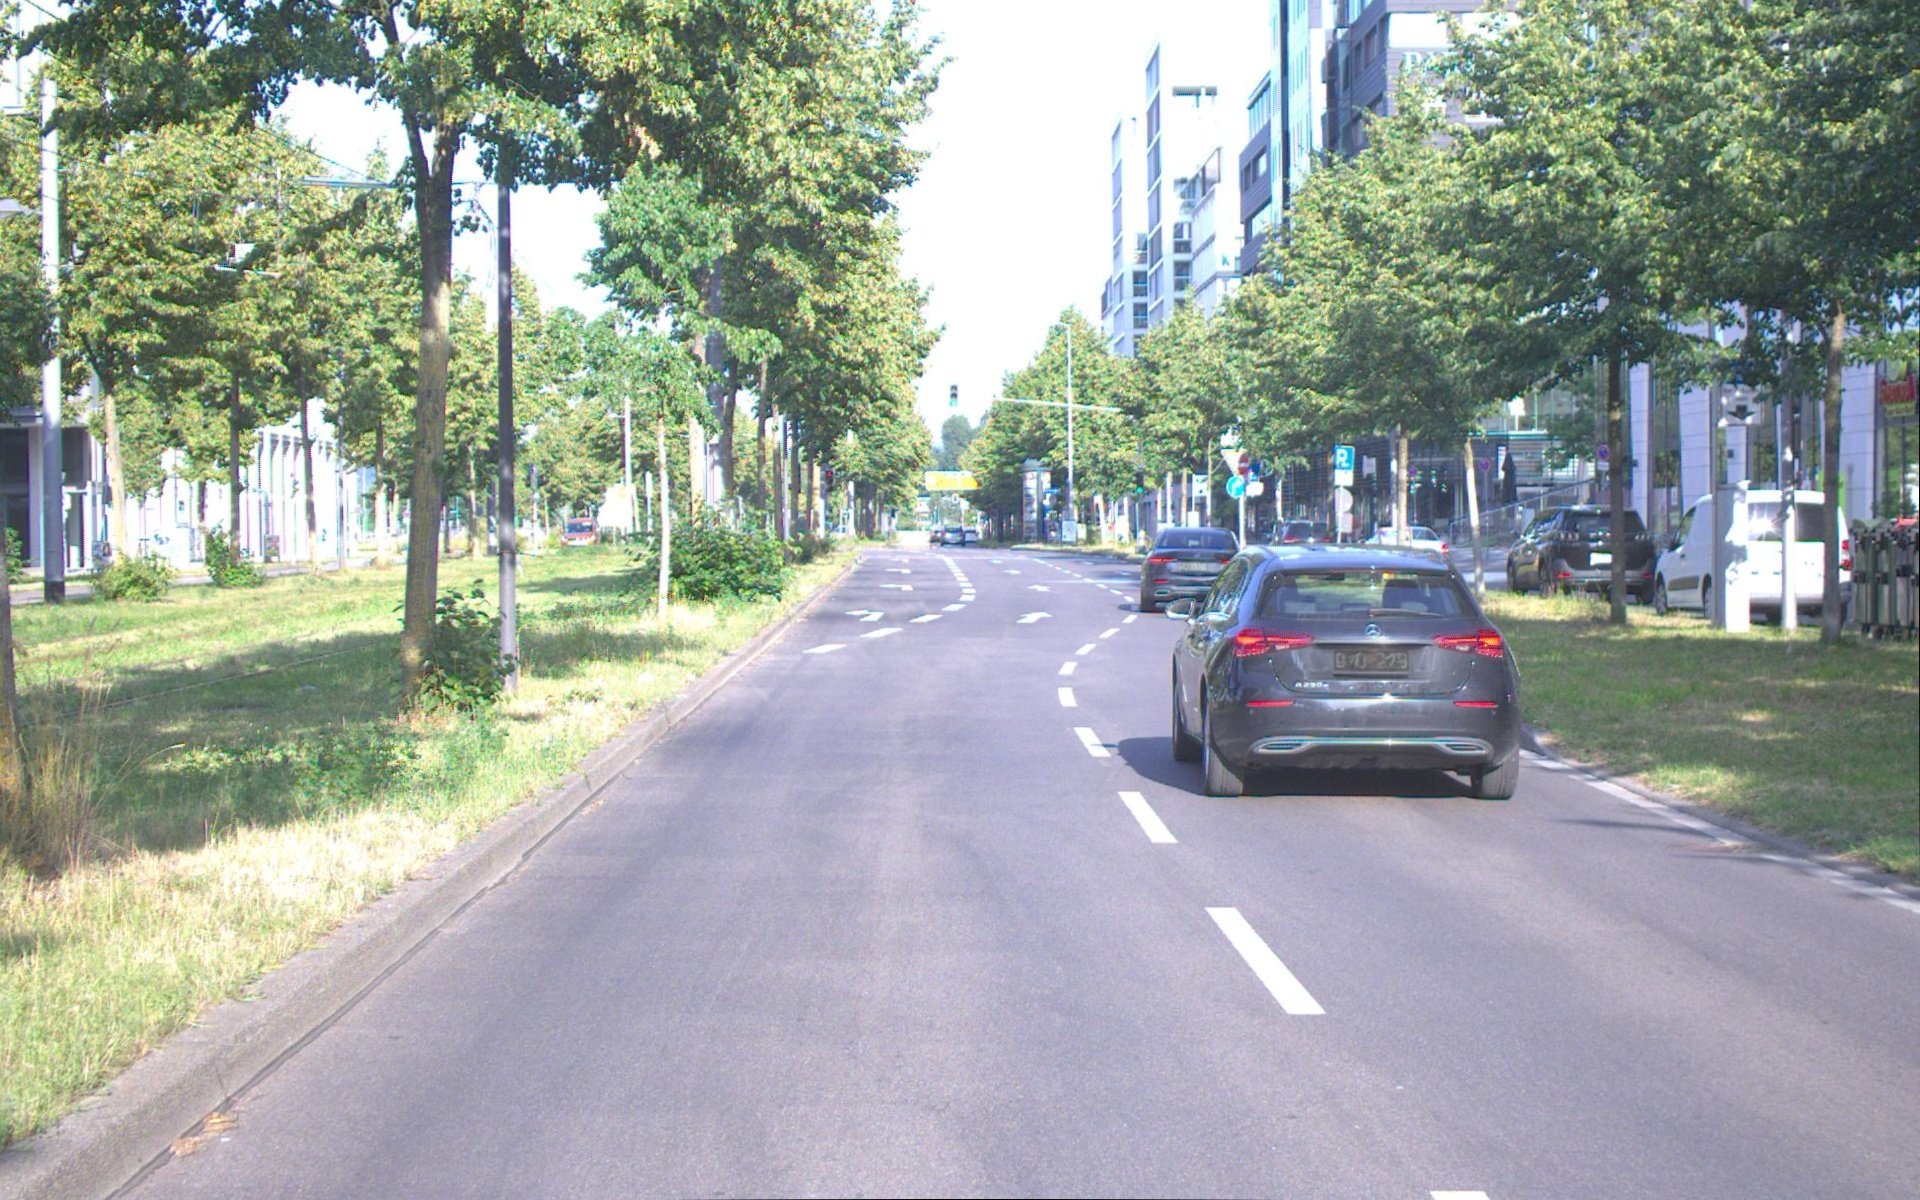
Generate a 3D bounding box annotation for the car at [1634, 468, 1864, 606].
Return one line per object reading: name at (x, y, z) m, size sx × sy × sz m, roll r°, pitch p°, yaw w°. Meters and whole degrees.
car at (10.435, -0.840, 45.783) m, size 1.827 × 1.706 × 4.297 m, roll 1°, pitch 1°, yaw -3°

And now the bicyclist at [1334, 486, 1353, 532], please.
bicyclist at (14.167, -3.350, 126.906) m, size 0.574 × 1.701 × 0.541 m, roll 1°, pitch 1°, yaw -4°

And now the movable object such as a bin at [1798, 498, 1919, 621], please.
movable object such as a bin at (9.892, -0.439, 37.173) m, size 1.277 × 1.287 × 1.178 m, roll 1°, pitch 1°, yaw -4°

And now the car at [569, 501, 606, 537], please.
car at (-18.877, -4.104, 174.384) m, size 1.684 × 1.769 × 3.883 m, roll 1°, pitch 1°, yaw -4°

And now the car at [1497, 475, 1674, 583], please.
car at (10.479, -1.236, 57.919) m, size 1.897 × 1.702 × 4.679 m, roll 1°, pitch 2°, yaw -2°

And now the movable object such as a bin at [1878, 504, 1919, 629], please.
movable object such as a bin at (10.051, -0.329, 34.477) m, size 1.277 × 1.232 × 1.192 m, roll 1°, pitch 1°, yaw -4°

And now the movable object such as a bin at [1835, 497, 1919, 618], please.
movable object such as a bin at (9.978, -0.437, 35.921) m, size 1.277 × 1.232 × 1.192 m, roll 1°, pitch 1°, yaw -4°

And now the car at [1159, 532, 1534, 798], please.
car at (2.225, 0.320, 20.763) m, size 1.774 × 1.419 × 3.961 m, roll 1°, pitch 1°, yaw 0°

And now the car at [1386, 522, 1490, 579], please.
car at (10.927, -1.133, 78.723) m, size 1.708 × 1.238 × 3.906 m, roll 1°, pitch 1°, yaw -2°

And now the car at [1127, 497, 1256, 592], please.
car at (3.858, -0.939, 57.847) m, size 1.859 × 1.519 × 3.786 m, roll 1°, pitch 1°, yaw 0°

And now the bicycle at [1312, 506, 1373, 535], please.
bicycle at (14.118, -2.932, 126.913) m, size 2.134 × 1.009 × 0.572 m, roll 1°, pitch 1°, yaw -4°

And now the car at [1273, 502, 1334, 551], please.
car at (9.947, -2.129, 99.721) m, size 1.607 × 1.366 × 4.157 m, roll 1°, pitch 1°, yaw 4°
